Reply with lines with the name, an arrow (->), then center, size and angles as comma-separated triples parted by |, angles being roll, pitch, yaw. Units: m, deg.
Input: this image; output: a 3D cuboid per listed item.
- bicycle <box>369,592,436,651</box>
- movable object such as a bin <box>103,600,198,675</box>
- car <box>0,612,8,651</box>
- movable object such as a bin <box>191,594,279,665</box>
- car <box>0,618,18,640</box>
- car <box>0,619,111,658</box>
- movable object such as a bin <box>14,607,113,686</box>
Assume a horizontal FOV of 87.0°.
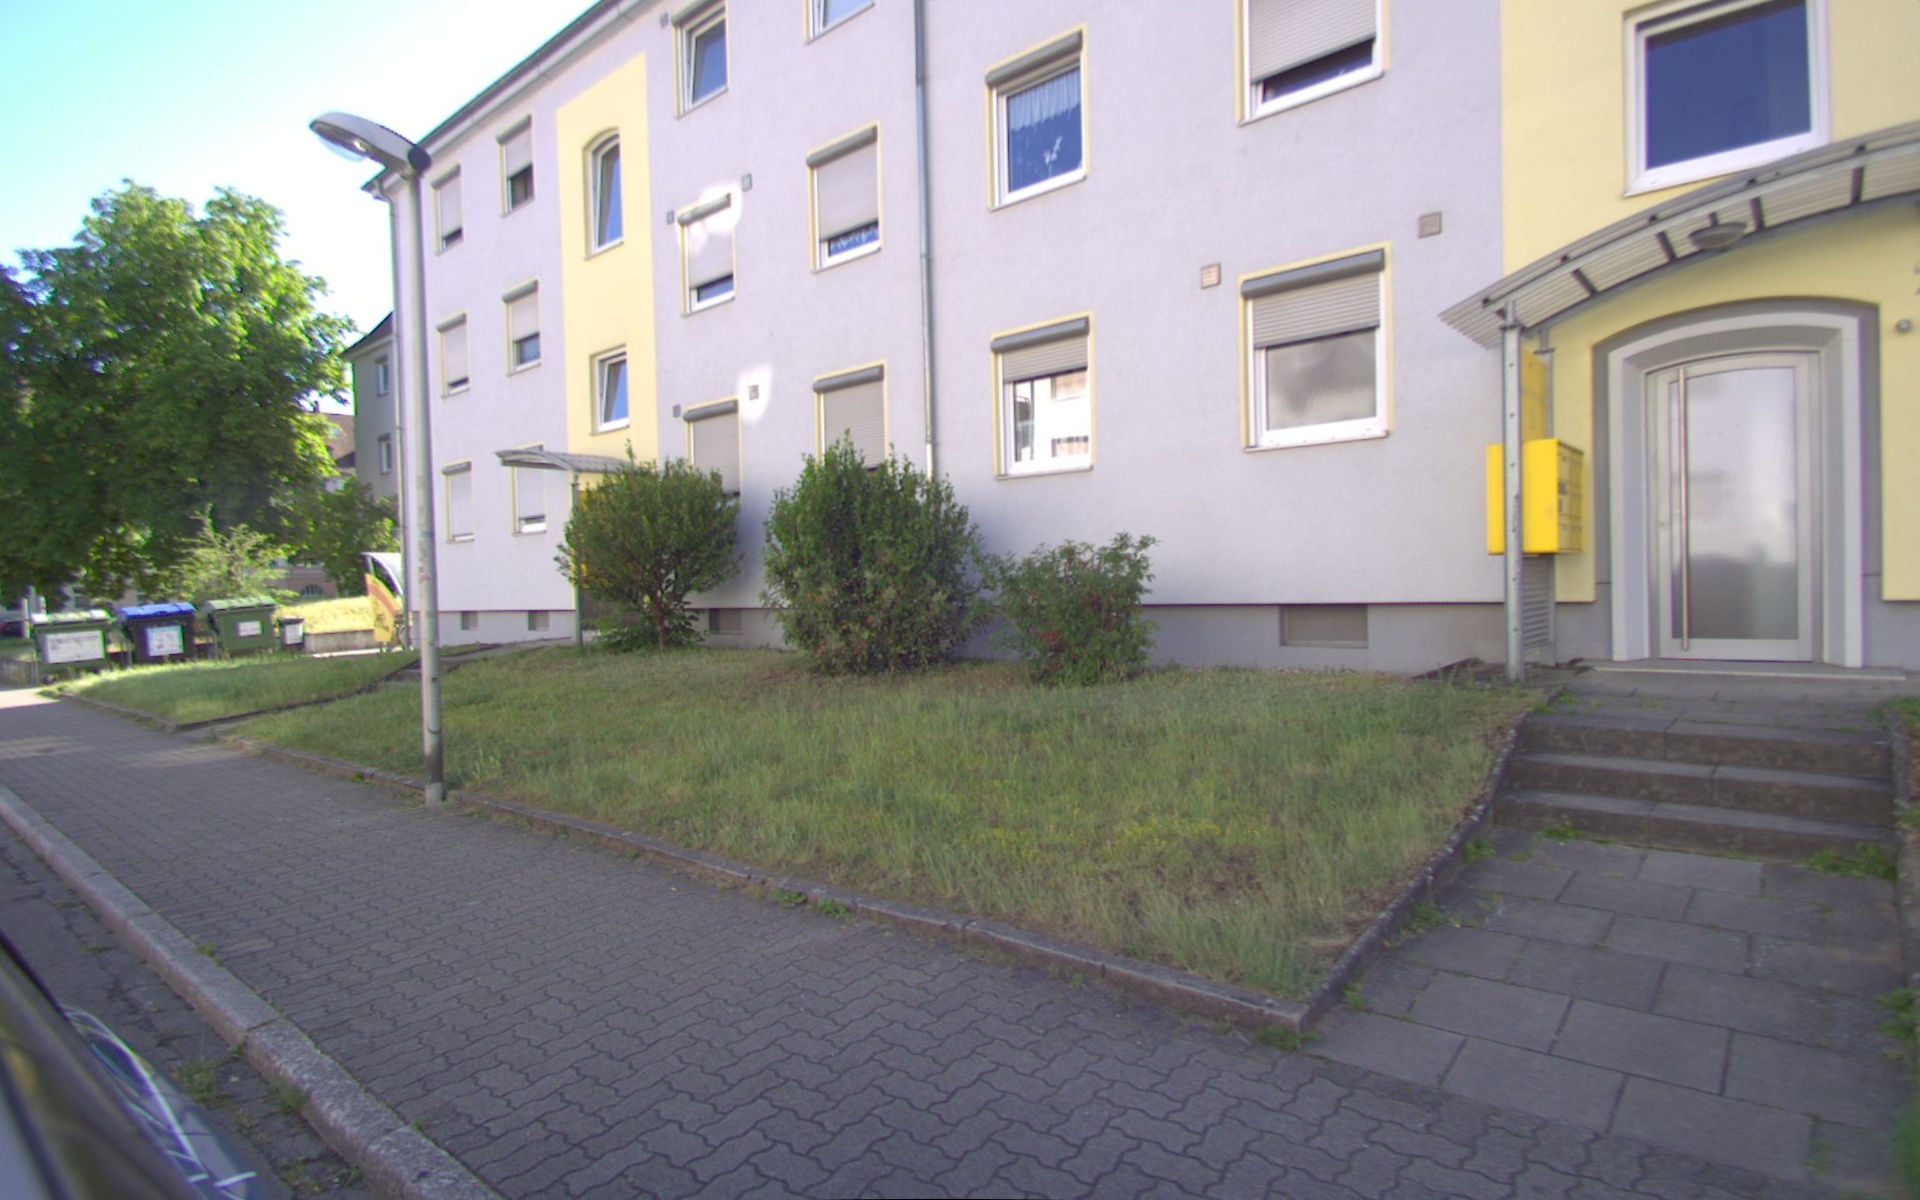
bicycle -> -12.712, 0.483, 23.049 | 2.008, 1.260, 0.633 | -1, 1, 41
movable object such as a bin -> -17.887, 0.796, 22.374 | 1.082, 1.470, 1.341 | -1, 5, 41
car -> -42.729, 1.407, 44.149 | 3.306, 1.667, 1.655 | -1, 0, 45
movable object such as a bin -> -16.891, 0.668, 23.587 | 1.072, 1.464, 1.347 | -1, 5, 41
car -> -65.240, 1.961, 67.273 | 1.624, 1.456, 3.737 | -1, 0, 42
car -> -39.213, 1.642, 43.401 | 1.728, 1.508, 4.087 | -1, 0, 40
movable object such as a bin -> -18.782, 0.957, 21.210 | 1.197, 1.470, 1.302 | -1, 4, 41
